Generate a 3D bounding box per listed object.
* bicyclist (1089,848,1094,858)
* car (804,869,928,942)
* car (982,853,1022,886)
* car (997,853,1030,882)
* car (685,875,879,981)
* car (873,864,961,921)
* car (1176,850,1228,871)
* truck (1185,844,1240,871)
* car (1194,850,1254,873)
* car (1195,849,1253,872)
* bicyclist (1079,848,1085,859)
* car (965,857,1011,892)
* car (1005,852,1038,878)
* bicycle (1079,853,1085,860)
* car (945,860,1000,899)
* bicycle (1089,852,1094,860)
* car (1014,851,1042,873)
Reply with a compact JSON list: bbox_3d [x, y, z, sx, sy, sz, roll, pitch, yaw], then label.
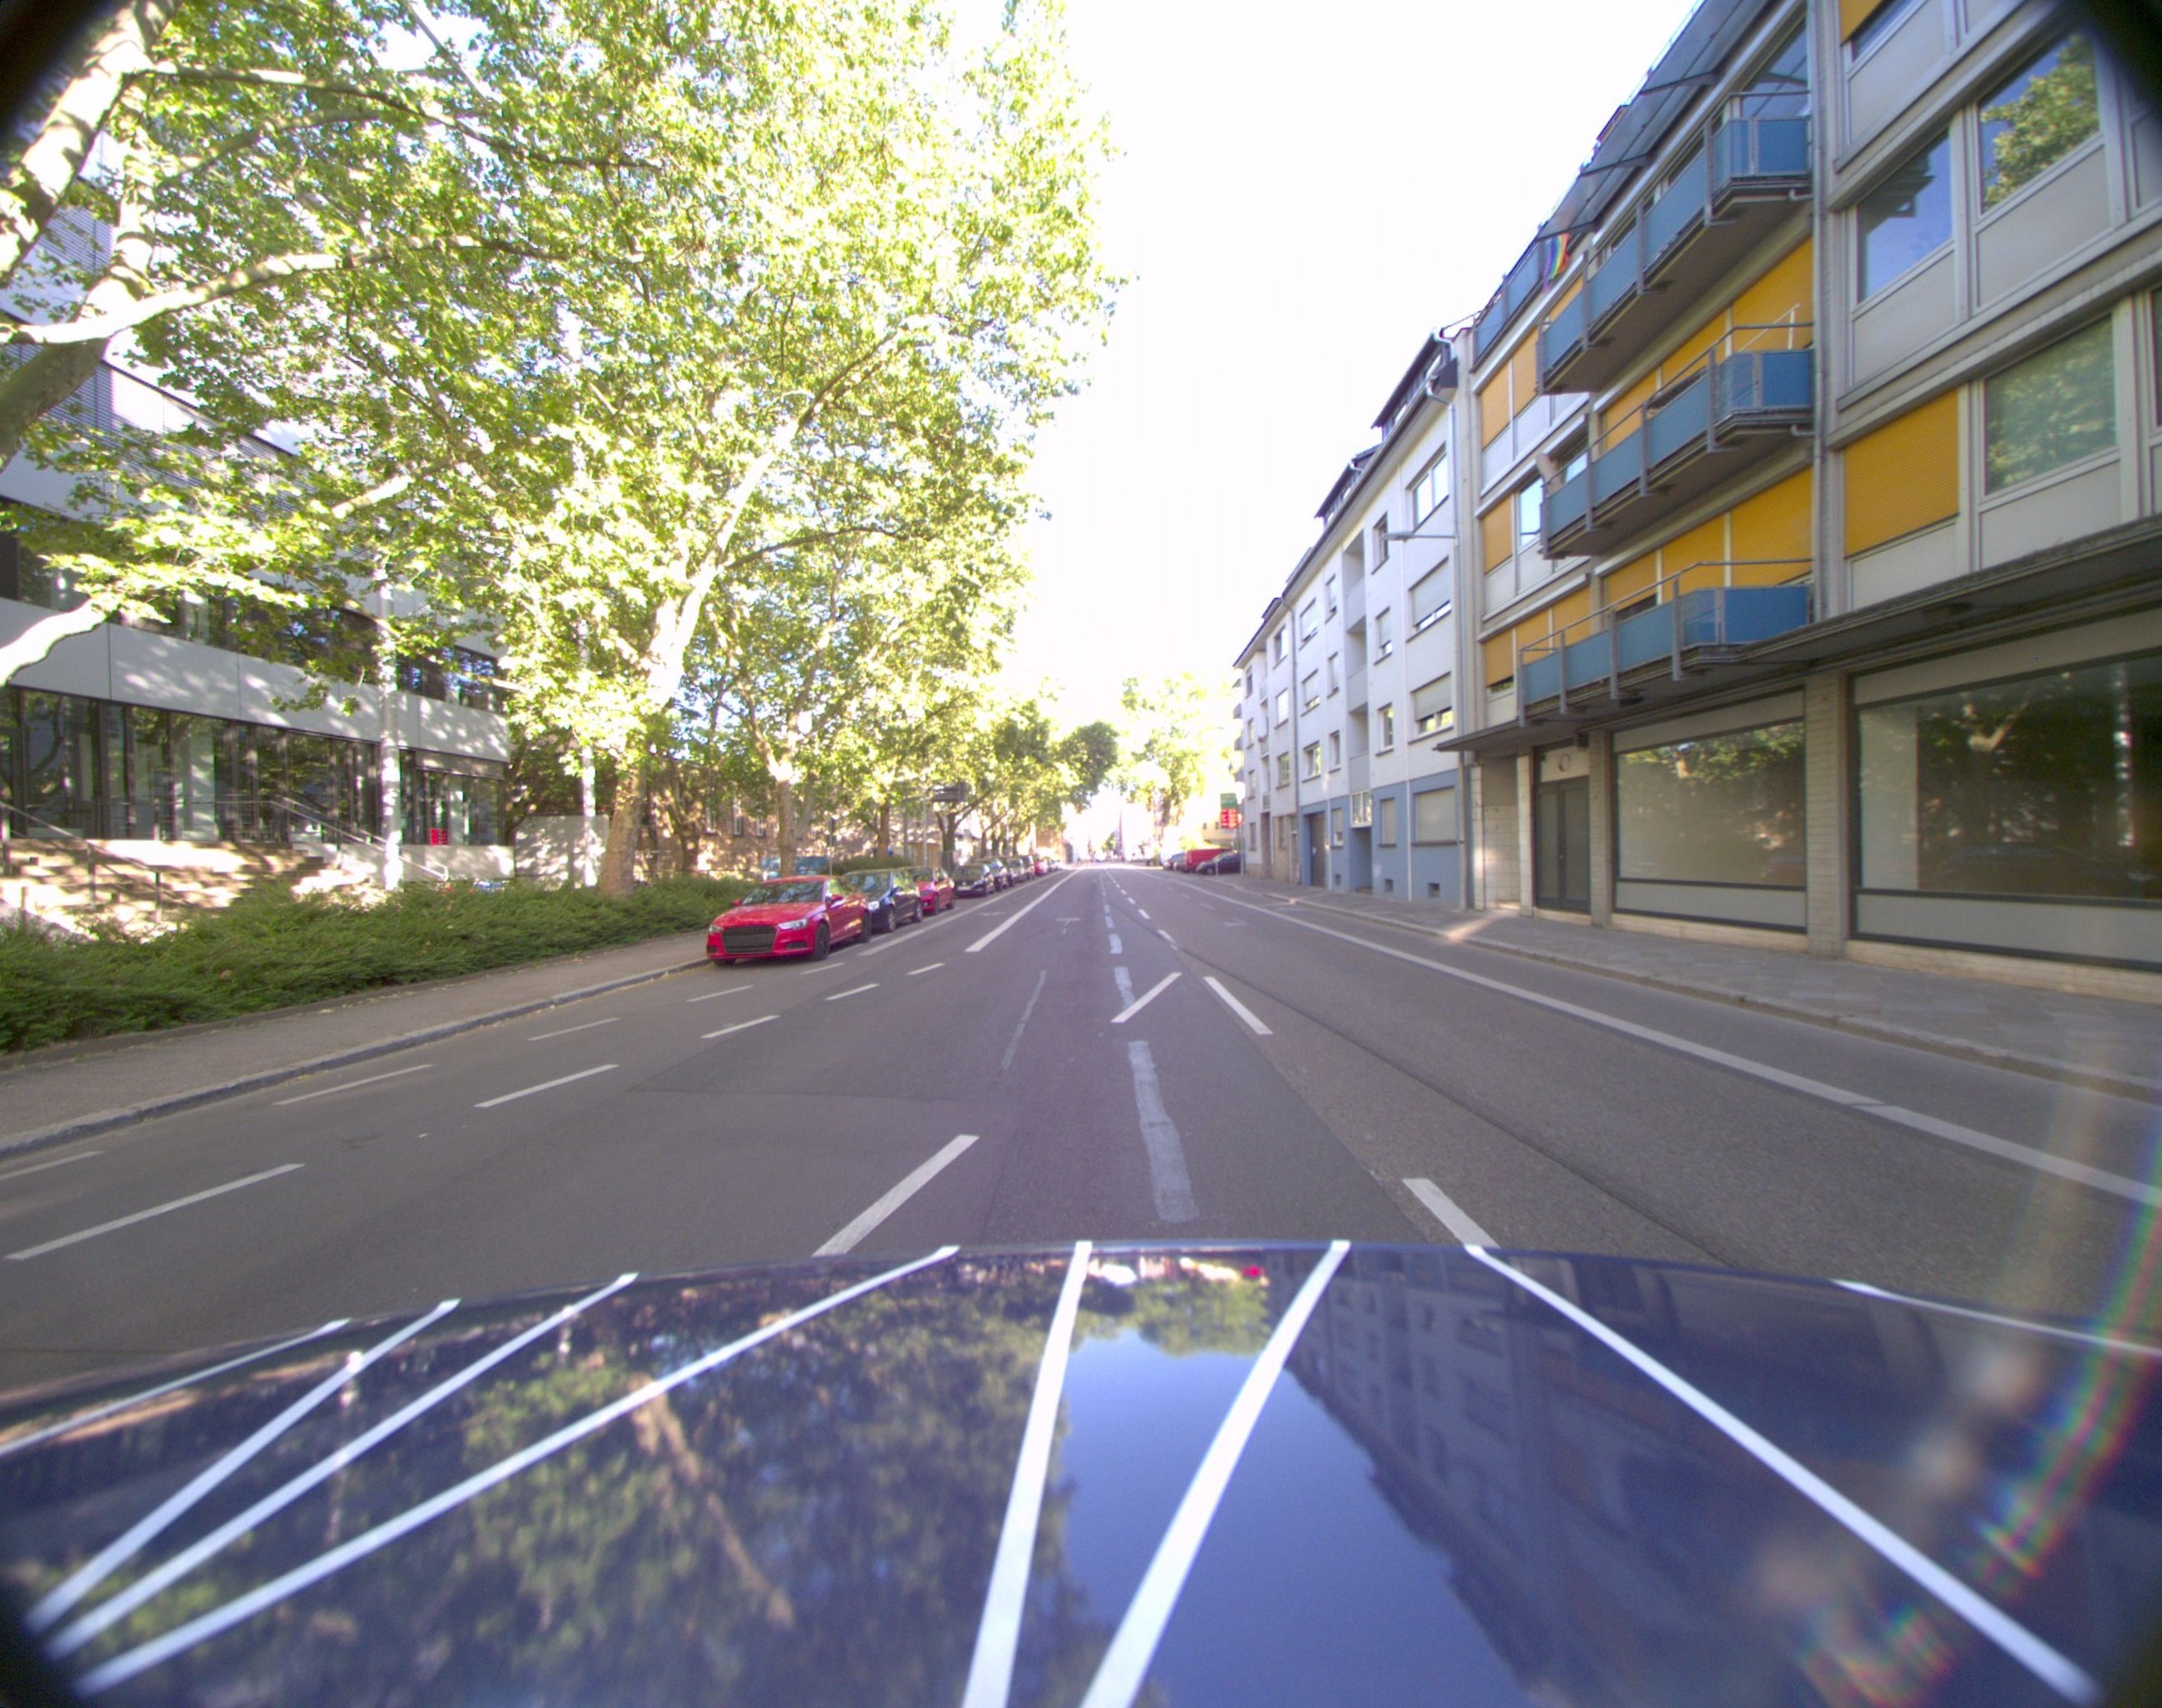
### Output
[{"bbox_3d":[1.535,-0.146,114.100,0.718,1.573,0.936,-2,1,1],"label":"bicyclist"},{"bbox_3d":[-5.084,1.167,18.584,1.818,1.405,4.163,-3,0,0],"label":"car"},{"bbox_3d":[-4.527,0.865,44.157,1.790,1.745,4.345,-3,0,0],"label":"car"},{"bbox_3d":[-4.449,0.848,50.712,1.790,1.745,4.552,-3,0,0],"label":"car"},{"bbox_3d":[-5.139,1.190,13.728,1.818,1.405,4.163,-3,0,0],"label":"car"},{"bbox_3d":[-5.031,1.121,23.868,1.818,1.475,4.163,-3,0,0],"label":"car"},{"bbox_3d":[9.975,0.523,62.854,3.996,1.494,1.761,-2,1,2],"label":"car"},{"bbox_3d":[10.365,0.243,60.000,3.996,1.925,1.761,-2,1,2],"label":"truck"},{"bbox_3d":[10.251,0.544,54.804,3.996,1.449,1.761,-2,1,2],"label":"car"},{"bbox_3d":[10.725,0.477,57.151,3.996,1.494,1.761,-2,1,2],"label":"car"},{"bbox_3d":[0.155,-0.097,114.395,0.718,1.573,0.936,-2,1,1],"label":"bicyclist"},{"bbox_3d":[-4.603,0.974,38.140,1.790,1.544,4.163,-3,0,0],"label":"car"},{"bbox_3d":[-4.320,0.792,55.671,2.042,1.745,4.552,-3,0,0],"label":"car"},{"bbox_3d":[0.170,0.396,114.364,0.717,1.052,2.485,-2,1,1],"label":"bicycle"},{"bbox_3d":[-4.704,1.074,33.394,1.790,1.451,4.163,-3,0,0],"label":"car"},{"bbox_3d":[1.557,0.314,114.054,0.717,1.052,2.485,-2,1,1],"label":"bicycle"},{"bbox_3d":[-4.595,0.694,66.101,2.042,1.745,4.552,-3,0,0],"label":"car"}]
